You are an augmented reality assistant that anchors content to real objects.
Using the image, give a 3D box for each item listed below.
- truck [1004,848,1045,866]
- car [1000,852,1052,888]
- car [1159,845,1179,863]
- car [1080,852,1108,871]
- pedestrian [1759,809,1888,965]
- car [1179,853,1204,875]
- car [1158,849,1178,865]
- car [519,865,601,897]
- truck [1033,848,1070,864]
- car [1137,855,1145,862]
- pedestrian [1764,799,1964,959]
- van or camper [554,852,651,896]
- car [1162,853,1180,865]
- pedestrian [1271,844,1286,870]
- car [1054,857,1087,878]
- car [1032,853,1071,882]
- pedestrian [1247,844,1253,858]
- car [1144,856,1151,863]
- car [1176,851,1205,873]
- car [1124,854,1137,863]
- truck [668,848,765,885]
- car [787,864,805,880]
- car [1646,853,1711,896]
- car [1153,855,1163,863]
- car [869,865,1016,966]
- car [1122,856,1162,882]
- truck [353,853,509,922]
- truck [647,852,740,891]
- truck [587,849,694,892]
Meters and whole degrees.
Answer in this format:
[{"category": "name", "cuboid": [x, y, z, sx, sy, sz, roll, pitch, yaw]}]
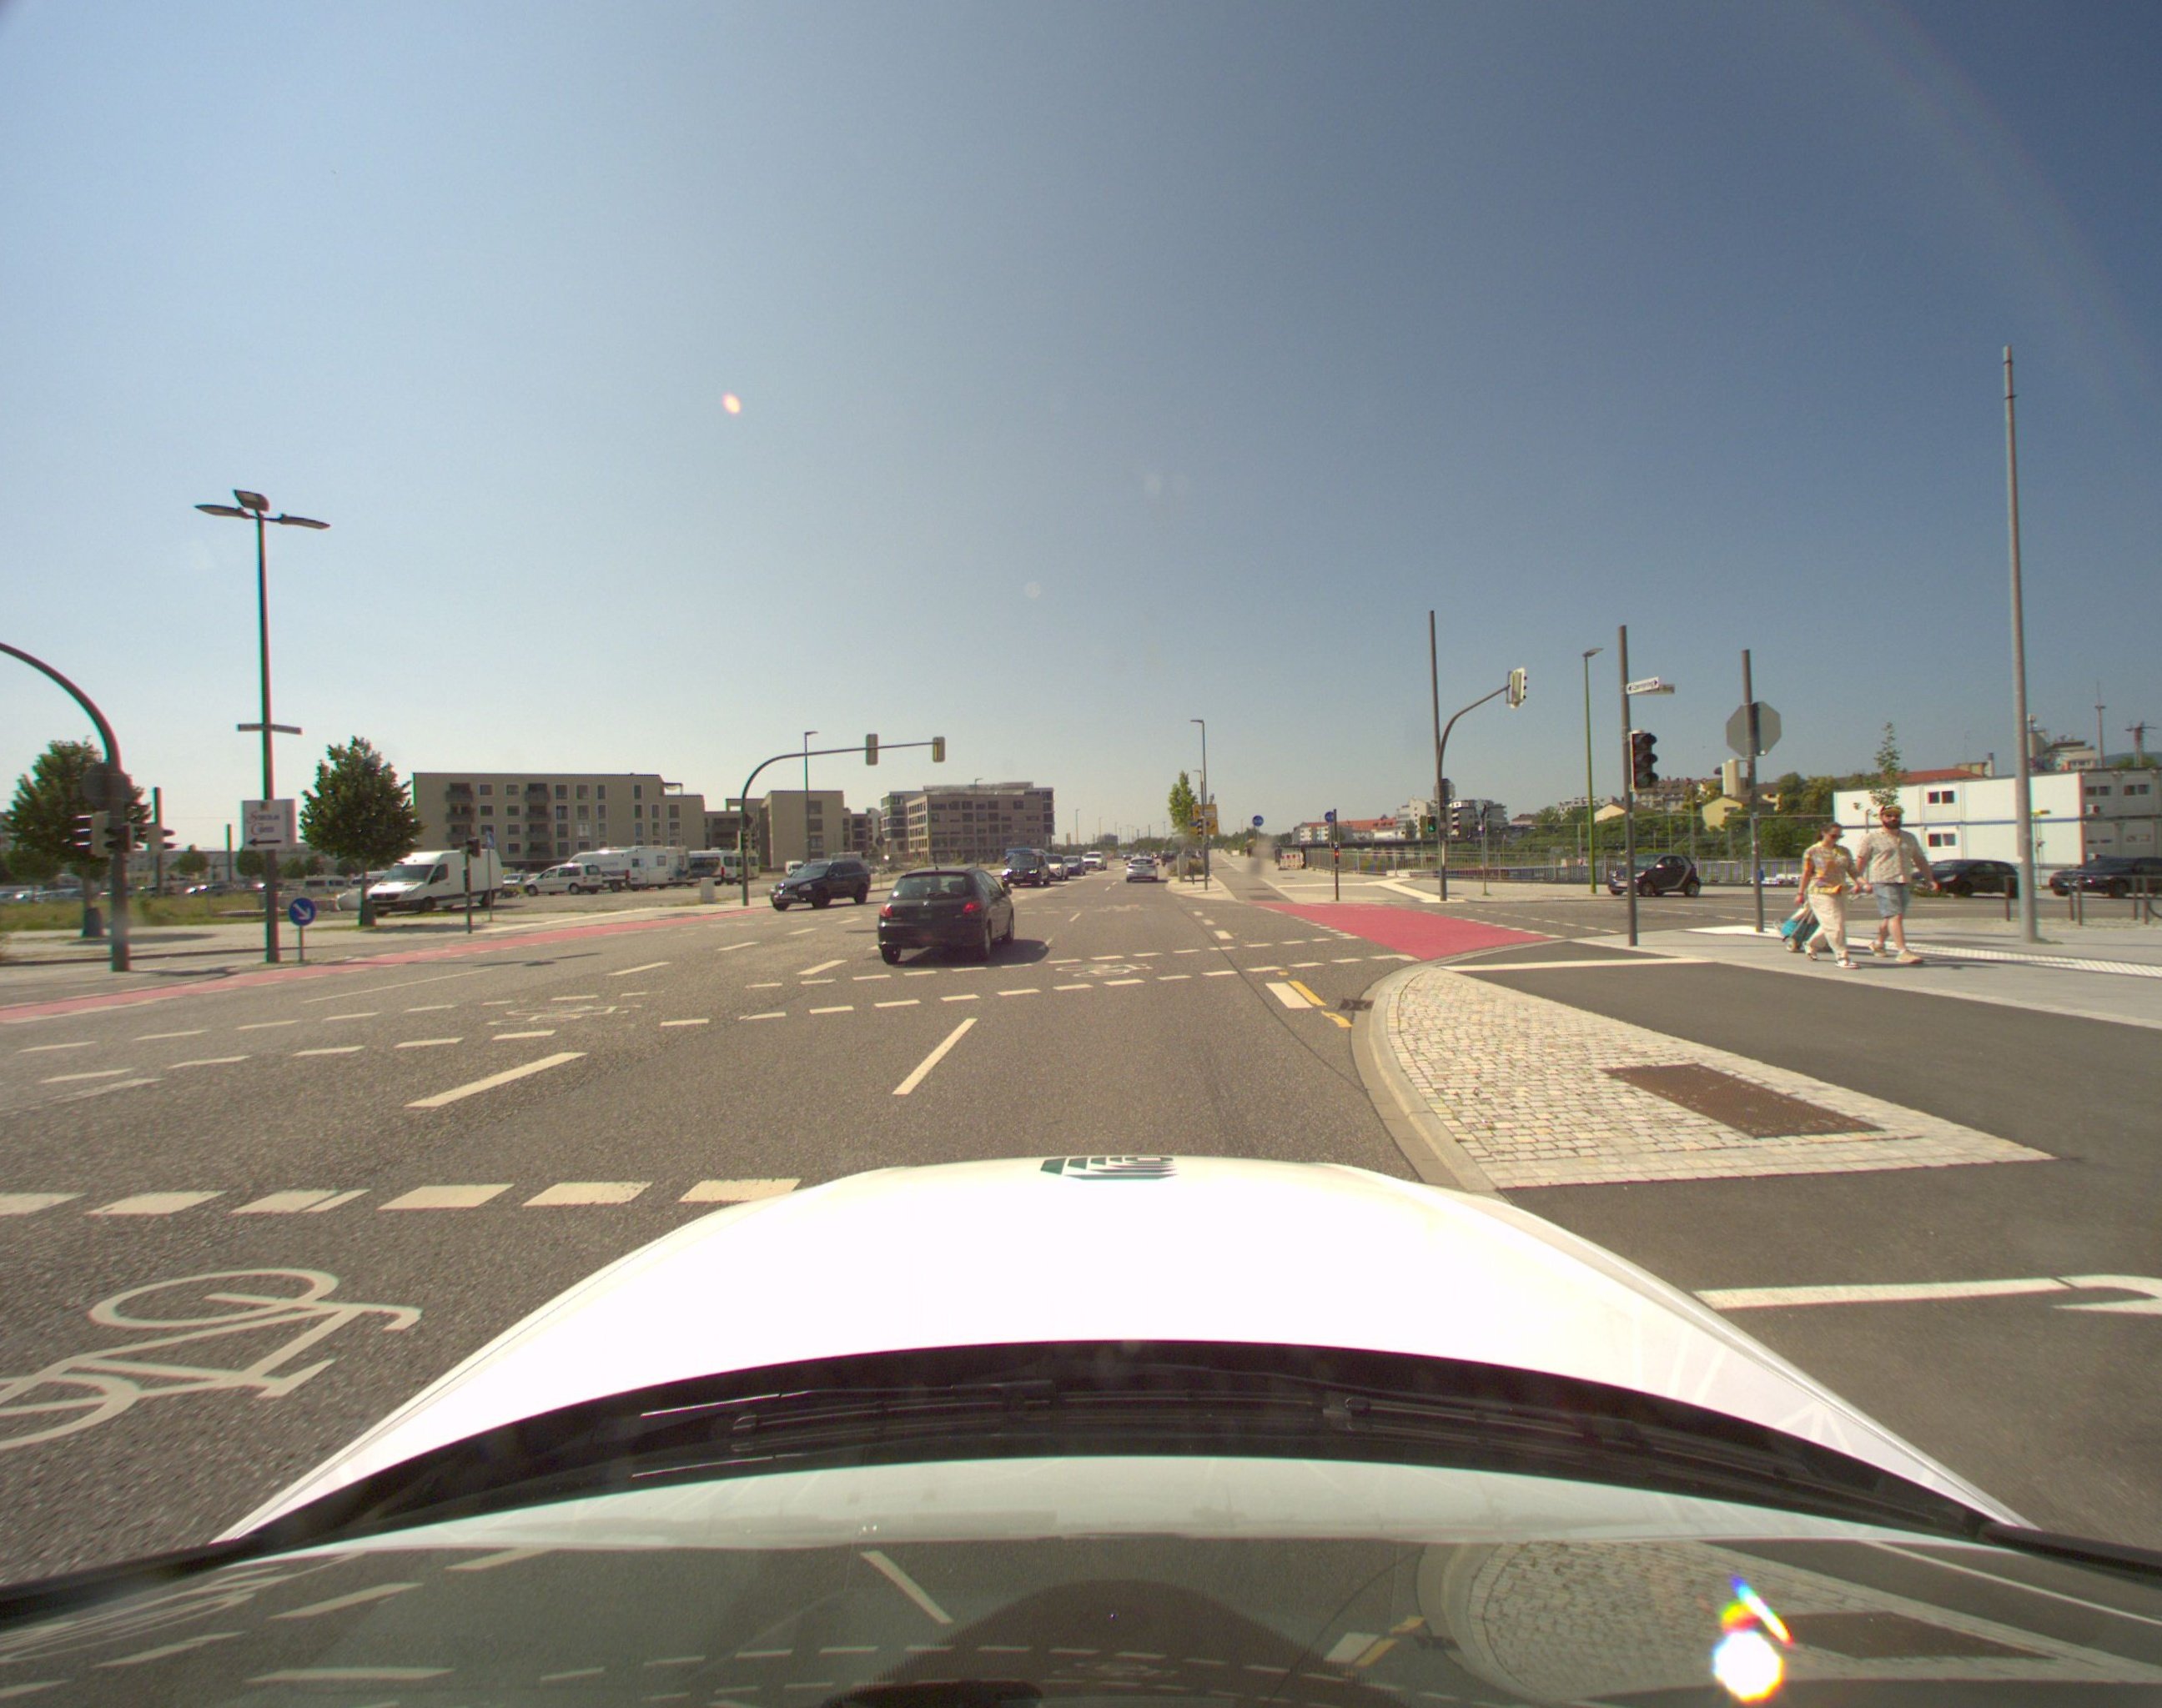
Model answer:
[{"category": "truck", "cuboid": [-8.731, 0.413, 126.493, 5.975, 2.543, 2.278, -2, 0, 5]}, {"category": "car", "cuboid": [-2.860, 0.810, 43.325, 1.930, 1.788, 4.663, 0, 1, 6]}, {"category": "car", "cuboid": [9.156, 0.045, 84.843, 1.786, 1.750, 4.001, 0, -1, 2]}, {"category": "car", "cuboid": [1.208, 0.645, 74.288, 1.902, 1.650, 4.742, -2, 0, 9]}, {"category": "pedestrian", "cuboid": [8.659, 0.377, 9.533, 0.697, 1.724, 0.796, -2, -1, 1]}, {"category": "car", "cuboid": [8.796, 0.748, 65.017, 1.862, 1.627, 4.887, -2, 0, 8]}, {"category": "car", "cuboid": [9.038, 0.359, 84.614, 1.767, 1.569, 4.011, -1, -1, 10]}, {"category": "car", "cuboid": [-30.868, 1.609, 48.327, 3.848, 1.758, 1.659, -1, 0, 4]}, {"category": "truck", "cuboid": [-4.833, 0.276, 133.265, 5.537, 2.362, 2.279, -2, 0, 6]}, {"category": "car", "cuboid": [12.304, 0.907, 166.842, 1.785, 1.416, 4.005, 0, -1, 5]}, {"category": "pedestrian", "cuboid": [9.687, 0.295, 10.188, 0.874, 1.826, 1.665, -1, -1, 1]}, {"category": "van or camper", "cuboid": [-30.495, 1.277, 51.992, 4.872, 2.661, 2.265, -1, 0, 8]}, {"category": "car", "cuboid": [10.775, 0.602, 97.818, 1.627, 1.310, 3.999, 0, -1, 0]}, {"category": "pedestrian", "cuboid": [12.752, 0.187, 52.581, 0.746, 1.609, 0.951, -5, 0, 8]}, {"category": "car", "cuboid": [-0.753, 0.966, 60.805, 1.776, 1.421, 4.292, -2, 0, 8]}, {"category": "car", "cuboid": [-1.836, 0.825, 51.730, 1.769, 1.682, 4.106, -3, 0, 6]}, {"category": "pedestrian", "cuboid": [20.830, -0.363, 100.415, 0.727, 1.705, 0.652, -1, -1, 9]}, {"category": "car", "cuboid": [15.294, 1.337, 187.203, 1.572, 1.563, 3.678, 0, -1, 5]}, {"category": "car", "cuboid": [7.830, 0.544, 58.107, 1.982, 1.519, 4.010, -1, 0, 8]}, {"category": "car", "cuboid": [8.347, 0.741, 137.561, 1.883, 1.415, 3.606, 0, -1, 8]}, {"category": "truck", "cuboid": [-28.839, 0.960, 64.510, 6.598, 2.825, 2.609, -1, 0, 8]}, {"category": "car", "cuboid": [-42.184, 2.605, 120.519, 2.004, 2.240, 3.965, -1, 0, -27]}, {"category": "car", "cuboid": [21.540, 0.726, 29.315, 1.440, 1.464, 3.388, -2, -2, 44]}, {"category": "car", "cuboid": [16.155, 1.026, 170.271, 1.776, 1.398, 4.584, -2, 0, 10]}, {"category": "car", "cuboid": [-2.115, 0.903, 13.435, 1.613, 1.416, 3.729, -1, -1, 2]}, {"category": "car", "cuboid": [3.590, 0.845, 47.357, 1.766, 1.442, 4.012, -2, 0, 11]}, {"category": "truck", "cuboid": [-27.891, 1.343, 35.301, 2.162, 2.655, 5.938, -2, 0, -4]}, {"category": "truck", "cuboid": [-28.997, 1.286, 61.058, 5.801, 2.825, 2.577, 0, -1, 9]}, {"category": "truck", "cuboid": [-30.393, 1.155, 56.277, 6.109, 2.901, 2.577, 0, -1, 9]}]
